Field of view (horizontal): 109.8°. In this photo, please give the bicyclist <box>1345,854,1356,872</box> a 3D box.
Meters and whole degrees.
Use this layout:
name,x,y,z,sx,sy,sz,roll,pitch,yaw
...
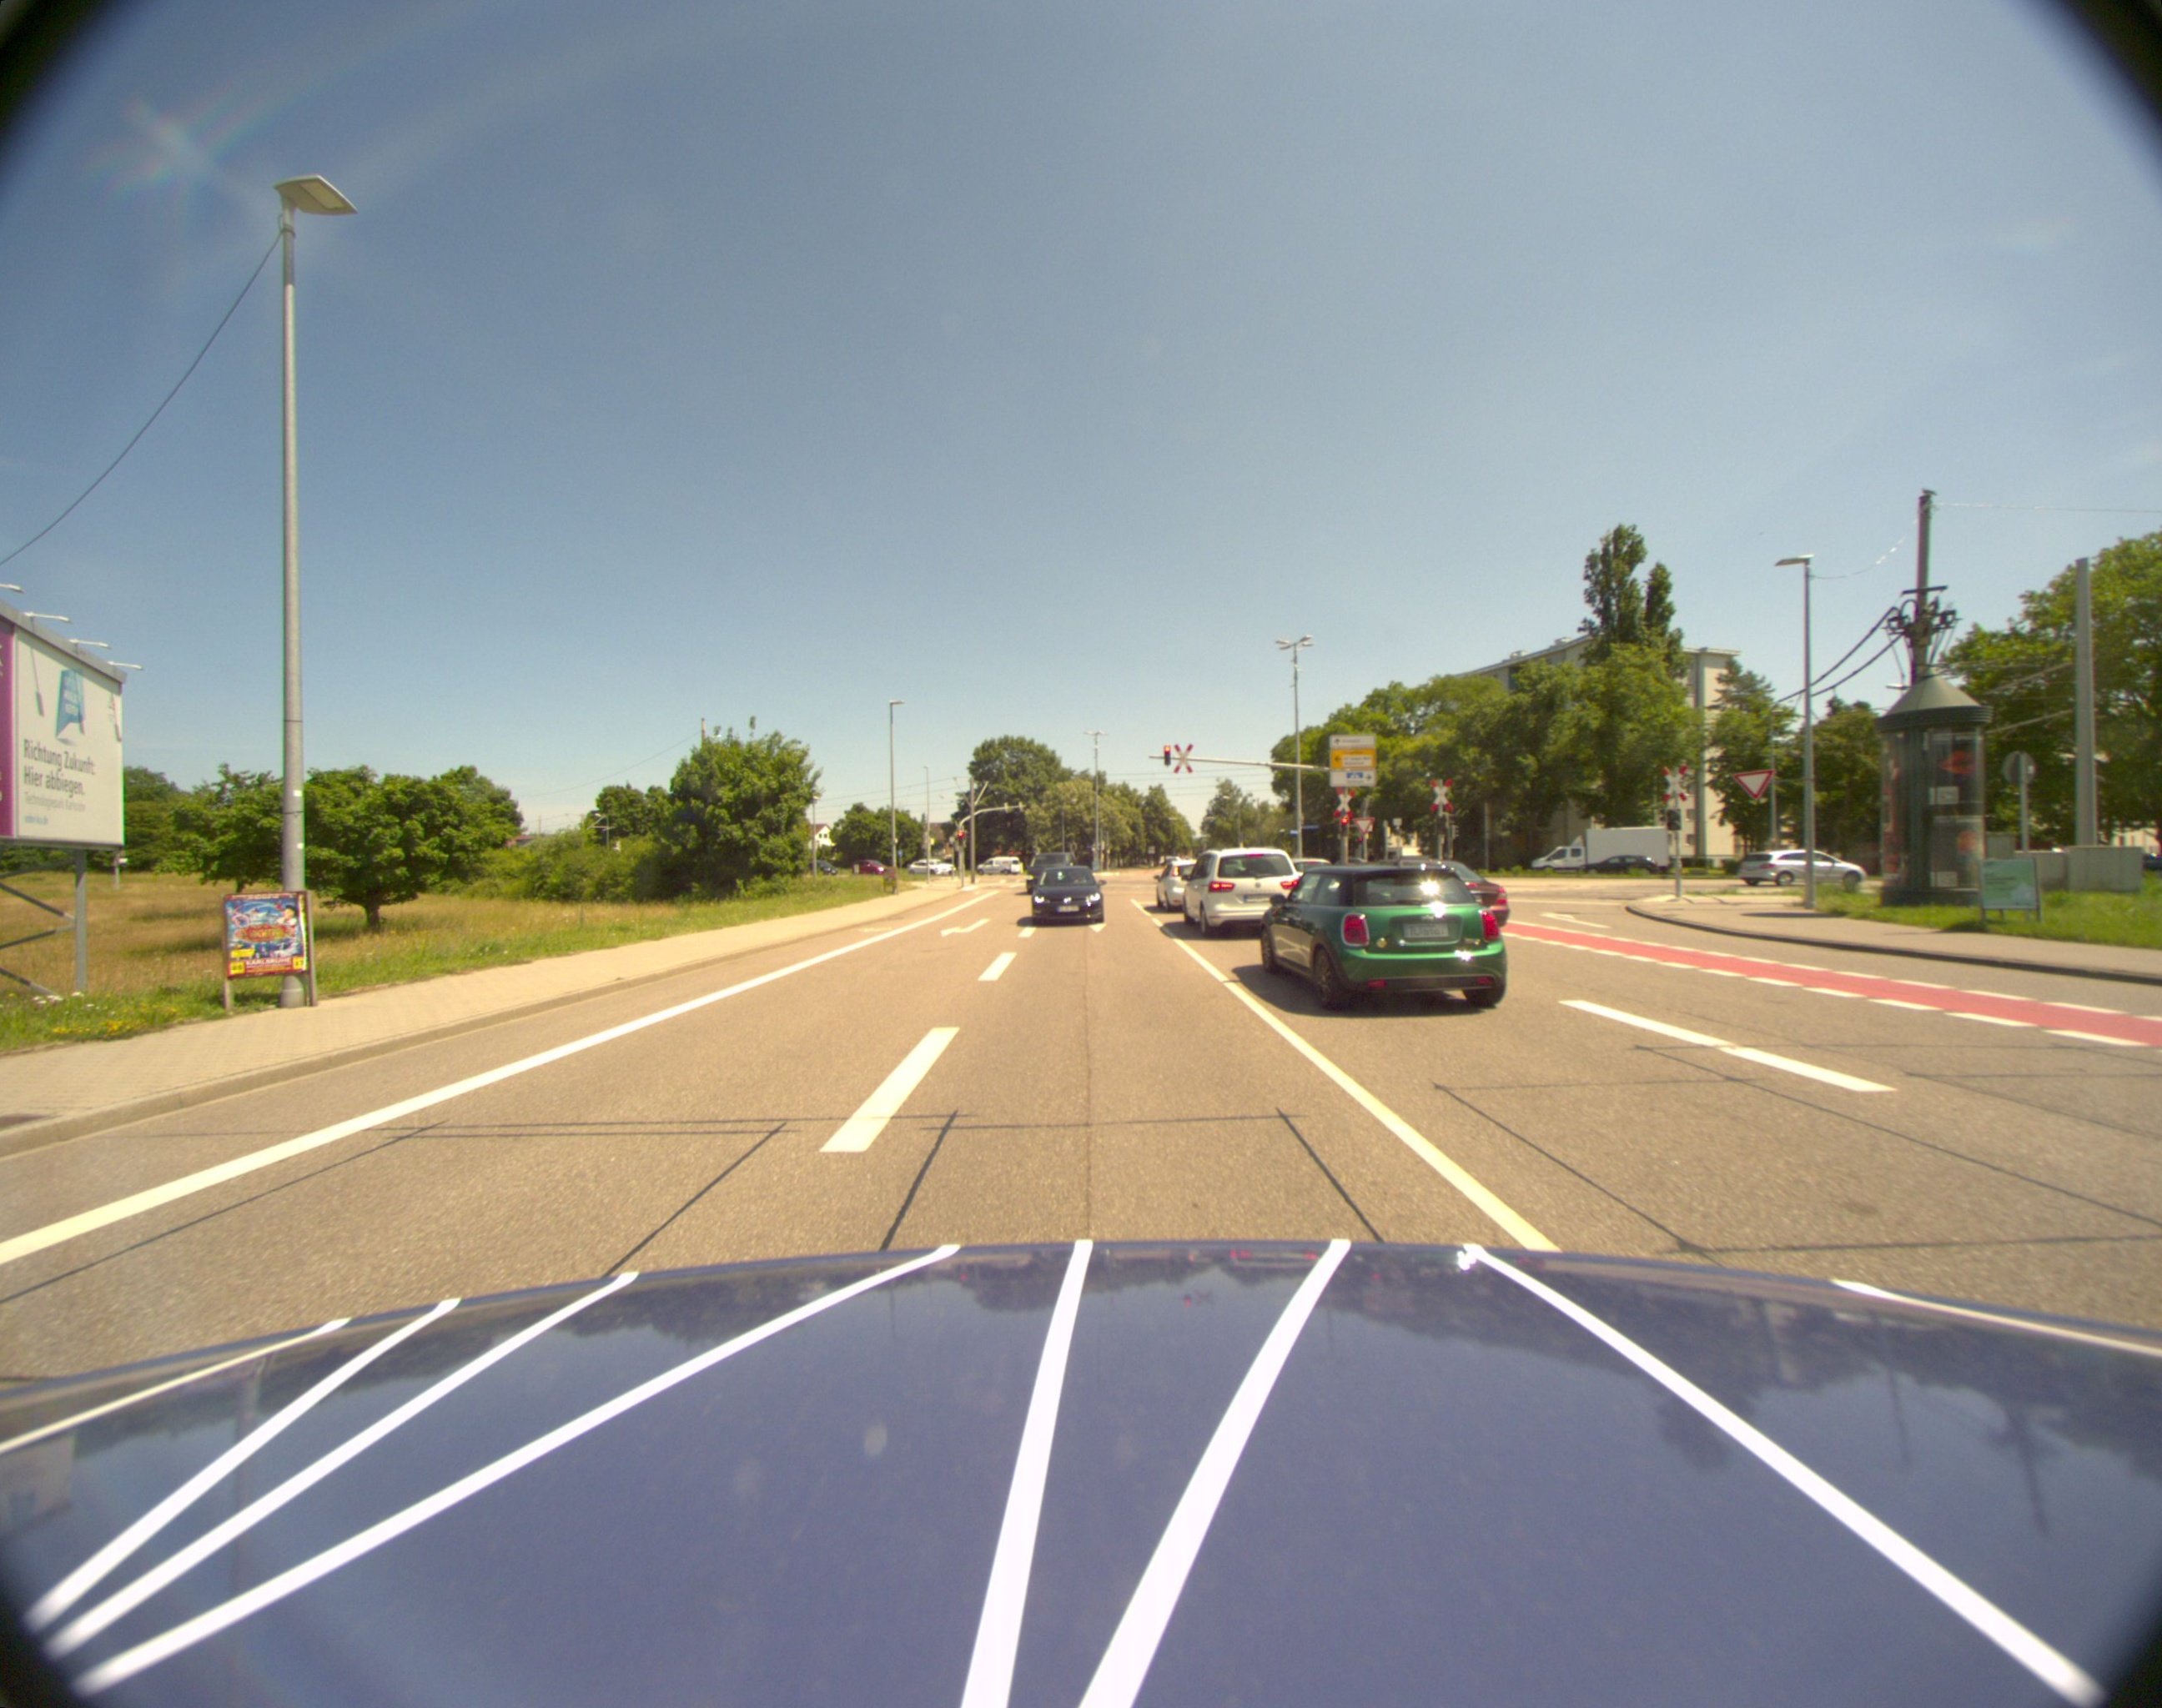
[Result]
name,x,y,z,sx,sy,sz,roll,pitch,yaw
bicyclist,22.473,0.720,63.254,0.616,1.460,0.628,-2,3,-14

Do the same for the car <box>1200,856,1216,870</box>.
name,x,y,z,sx,sy,sz,roll,pitch,yaw
car,15.715,1.141,94.118,1.808,1.707,4.348,0,-1,11

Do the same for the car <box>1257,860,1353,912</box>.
name,x,y,z,sx,sy,sz,roll,pitch,yaw
car,6.863,0.918,23.720,1.795,1.447,4.413,0,0,1

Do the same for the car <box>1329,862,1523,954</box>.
name,x,y,z,sx,sy,sz,roll,pitch,yaw
car,6.390,0.914,14.662,1.764,1.448,4.285,-1,0,0

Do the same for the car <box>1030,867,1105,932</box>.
name,x,y,z,sx,sy,sz,roll,pitch,yaw
car,-0.345,1.096,19.749,1.709,1.396,4.053,-2,0,-1

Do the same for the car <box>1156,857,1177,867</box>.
name,x,y,z,sx,sy,sz,roll,pitch,yaw
car,16.604,1.589,147.536,3.768,1.717,1.764,-2,-2,8

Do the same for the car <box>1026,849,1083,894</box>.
name,x,y,z,sx,sy,sz,roll,pitch,yaw
car,-1.180,0.784,36.527,1.940,1.919,4.849,-2,0,7

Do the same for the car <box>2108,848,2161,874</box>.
name,x,y,z,sx,sy,sz,roll,pitch,yaw
car,55.809,0.376,38.530,3.989,1.278,1.891,-1,-2,29

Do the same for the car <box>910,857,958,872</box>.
name,x,y,z,sx,sy,sz,roll,pitch,yaw
car,-14.150,1.042,73.200,4.400,1.380,1.879,-1,-1,32

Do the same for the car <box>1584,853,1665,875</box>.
name,x,y,z,sx,sy,sz,roll,pitch,yaw
car,33.933,0.647,47.568,3.989,1.278,1.751,-1,-2,29

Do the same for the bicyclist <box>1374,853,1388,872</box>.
name,x,y,z,sx,sy,sz,roll,pitch,yaw
bicyclist,24.620,0.701,62.421,0.648,1.536,0.908,-2,3,-14

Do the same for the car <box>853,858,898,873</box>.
name,x,y,z,sx,sy,sz,roll,pitch,yaw
car,-20.821,1.172,76.951,4.400,1.566,1.879,-1,-1,32

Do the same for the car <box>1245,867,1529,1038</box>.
name,x,y,z,sx,sy,sz,roll,pitch,yaw
car,3.173,0.920,8.809,1.727,1.454,3.990,-1,0,1

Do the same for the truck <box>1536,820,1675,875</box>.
name,x,y,z,sx,sy,sz,roll,pitch,yaw
truck,35.756,-0.315,52.209,7.691,3.511,2.594,-1,-2,31

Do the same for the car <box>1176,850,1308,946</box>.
name,x,y,z,sx,sy,sz,roll,pitch,yaw
car,3.224,0.817,16.217,1.816,1.713,4.831,-1,0,1

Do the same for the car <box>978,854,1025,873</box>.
name,x,y,z,sx,sy,sz,roll,pitch,yaw
car,-8.055,0.987,76.979,4.381,1.782,1.901,-1,-2,30

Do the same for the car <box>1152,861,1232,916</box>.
name,x,y,z,sx,sy,sz,roll,pitch,yaw
car,3.248,0.967,22.964,1.772,1.429,3.961,-2,0,0

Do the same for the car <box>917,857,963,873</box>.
name,x,y,z,sx,sy,sz,roll,pitch,yaw
car,-14.342,1.160,77.128,4.400,1.566,1.879,-1,-1,32

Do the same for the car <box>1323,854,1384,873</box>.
name,x,y,z,sx,sy,sz,roll,pitch,yaw
car,21.526,0.761,60.015,4.203,1.416,1.853,-1,-1,32

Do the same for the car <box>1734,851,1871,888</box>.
name,x,y,z,sx,sy,sz,roll,pitch,yaw
car,31.408,0.697,33.157,4.254,1.536,1.748,0,-2,1

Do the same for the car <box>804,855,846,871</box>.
name,x,y,z,sx,sy,sz,roll,pitch,yaw
car,-27.221,0.975,80.798,4.400,1.566,1.879,-1,-1,32

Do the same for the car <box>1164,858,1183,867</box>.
name,x,y,z,sx,sy,sz,roll,pitch,yaw
car,17.340,1.596,142.377,3.487,1.467,1.586,-2,-2,8

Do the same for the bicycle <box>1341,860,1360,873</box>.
name,x,y,z,sx,sy,sz,roll,pitch,yaw
bicycle,22.461,1.055,63.348,0.616,1.057,1.803,-2,1,-14
